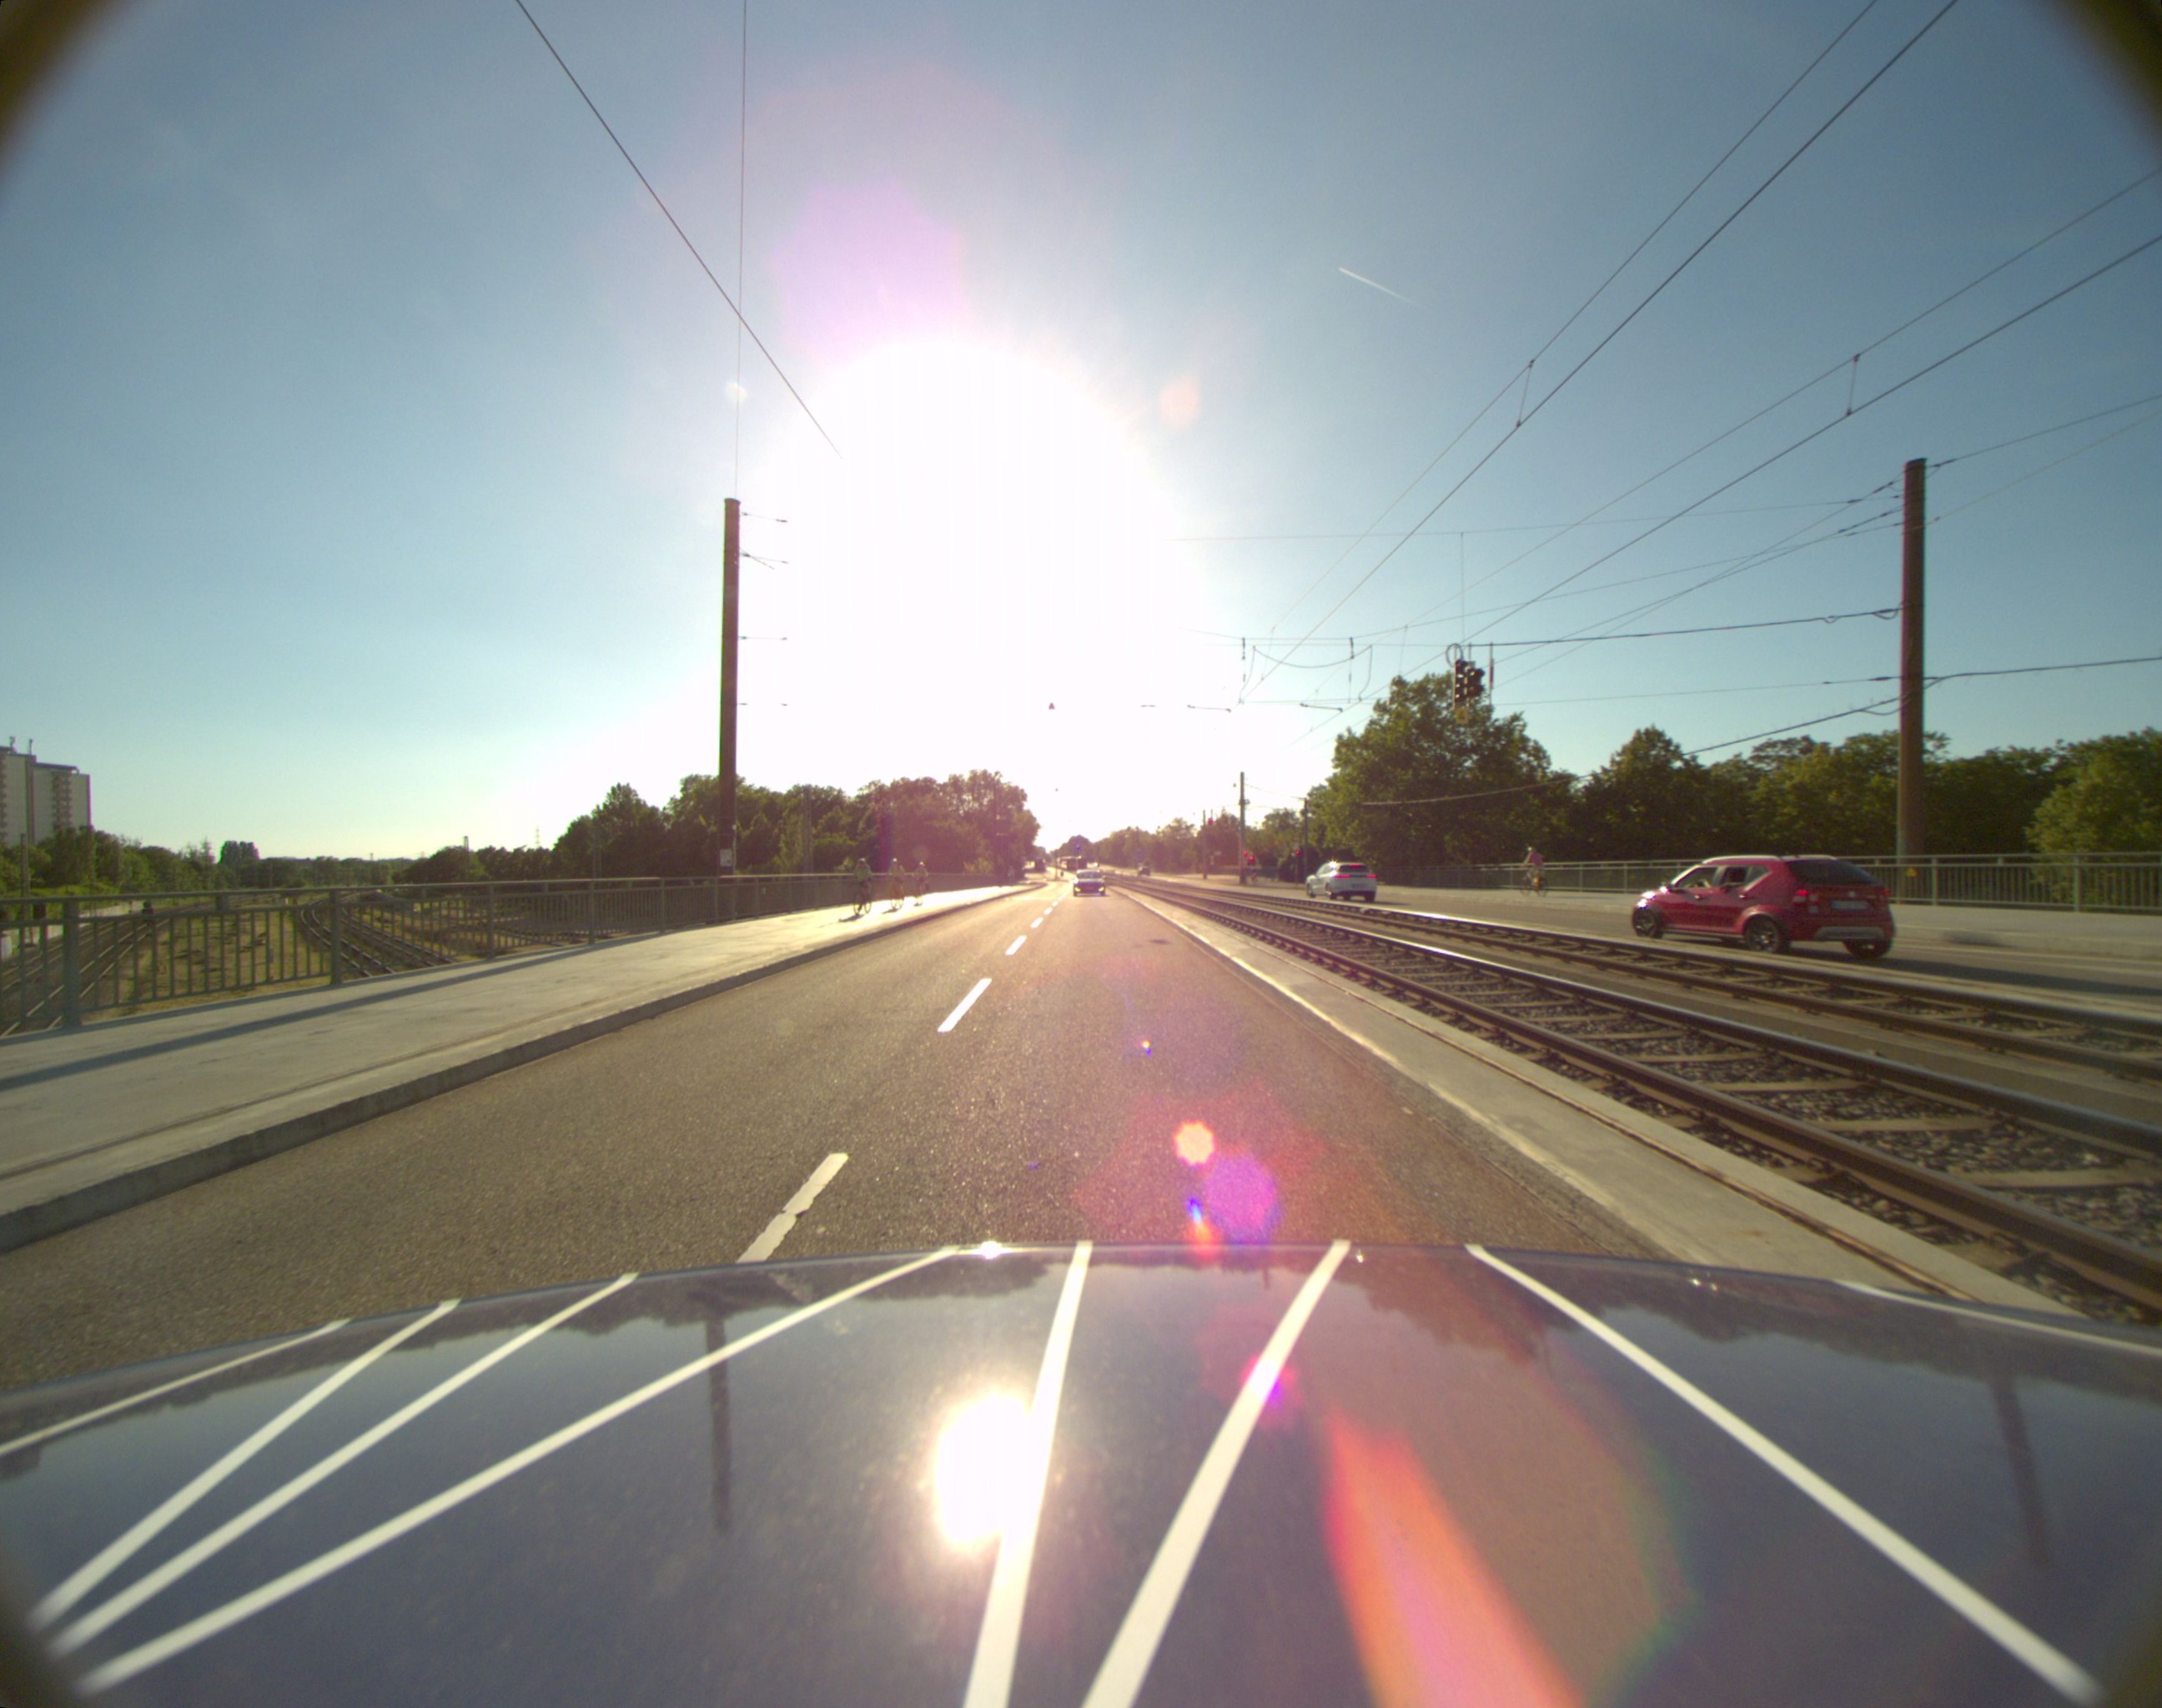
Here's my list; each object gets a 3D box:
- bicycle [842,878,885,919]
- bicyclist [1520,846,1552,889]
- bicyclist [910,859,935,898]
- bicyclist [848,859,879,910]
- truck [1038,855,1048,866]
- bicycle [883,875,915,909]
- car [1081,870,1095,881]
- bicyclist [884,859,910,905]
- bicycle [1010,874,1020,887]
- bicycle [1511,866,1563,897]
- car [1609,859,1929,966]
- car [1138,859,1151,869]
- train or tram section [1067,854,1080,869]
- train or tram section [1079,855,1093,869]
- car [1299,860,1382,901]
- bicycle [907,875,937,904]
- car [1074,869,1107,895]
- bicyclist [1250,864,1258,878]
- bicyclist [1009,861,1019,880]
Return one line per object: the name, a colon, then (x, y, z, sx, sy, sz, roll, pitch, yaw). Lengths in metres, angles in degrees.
bicycle: (-6.583, 1.326, 23.109, 0.627, 1.116, 2.260, -2, 0, 0)
bicyclist: (17.706, 0.525, 29.585, 0.627, 1.623, 0.935, -2, 0, -1)
bicyclist: (-6.427, 0.981, 30.838, 0.814, 1.553, 0.897, -2, -1, 0)
bicyclist: (-6.588, 0.917, 23.069, 0.627, 1.499, 1.006, -2, 0, 0)
truck: (-10.692, 1.795, 215.543, 2.611, 3.185, 7.867, -1, 0, -4)
bicycle: (-6.398, 1.316, 26.790, 0.626, 1.116, 2.042, -2, 0, 0)
car: (0.860, 2.745, 97.948, 1.802, 1.345, 4.000, 0, 0, 0)
bicyclist: (-6.444, 0.973, 26.679, 0.626, 1.583, 0.931, -2, 0, 0)
bicycle: (-5.935, 2.369, 68.410, 0.733, 1.116, 2.741, -4, 0, -3)
bicycle: (17.718, 1.031, 29.587, 0.627, 1.116, 2.259, -2, 0, 0)
car: (11.209, 0.865, 12.841, 1.812, 1.510, 4.001, 0, -1, 1)
car: (10.472, 1.623, 125.046, 1.853, 1.493, 4.219, -1, 0, 0)
train or tram section: (-2.102, 2.051, 207.020, 2.570, 3.878, 11.667, -1, 0, -4)
train or tram section: (1.222, 2.165, 210.477, 2.986, 3.878, 12.697, -1, 0, -3)
car: (11.591, 1.137, 34.283, 2.006, 1.627, 5.090, -1, 0, 0)
bicycle: (-6.424, 1.416, 30.815, 0.685, 1.115, 2.217, -2, -1, 0)
car: (0.492, 1.534, 43.178, 1.802, 1.345, 4.000, 0, 0, 0)
bicyclist: (17.478, 1.715, 76.601, 0.626, 1.424, 0.969, -2, 0, 3)
bicyclist: (-6.014, 1.510, 68.603, 0.733, 1.679, 1.202, -4, 0, -3)
